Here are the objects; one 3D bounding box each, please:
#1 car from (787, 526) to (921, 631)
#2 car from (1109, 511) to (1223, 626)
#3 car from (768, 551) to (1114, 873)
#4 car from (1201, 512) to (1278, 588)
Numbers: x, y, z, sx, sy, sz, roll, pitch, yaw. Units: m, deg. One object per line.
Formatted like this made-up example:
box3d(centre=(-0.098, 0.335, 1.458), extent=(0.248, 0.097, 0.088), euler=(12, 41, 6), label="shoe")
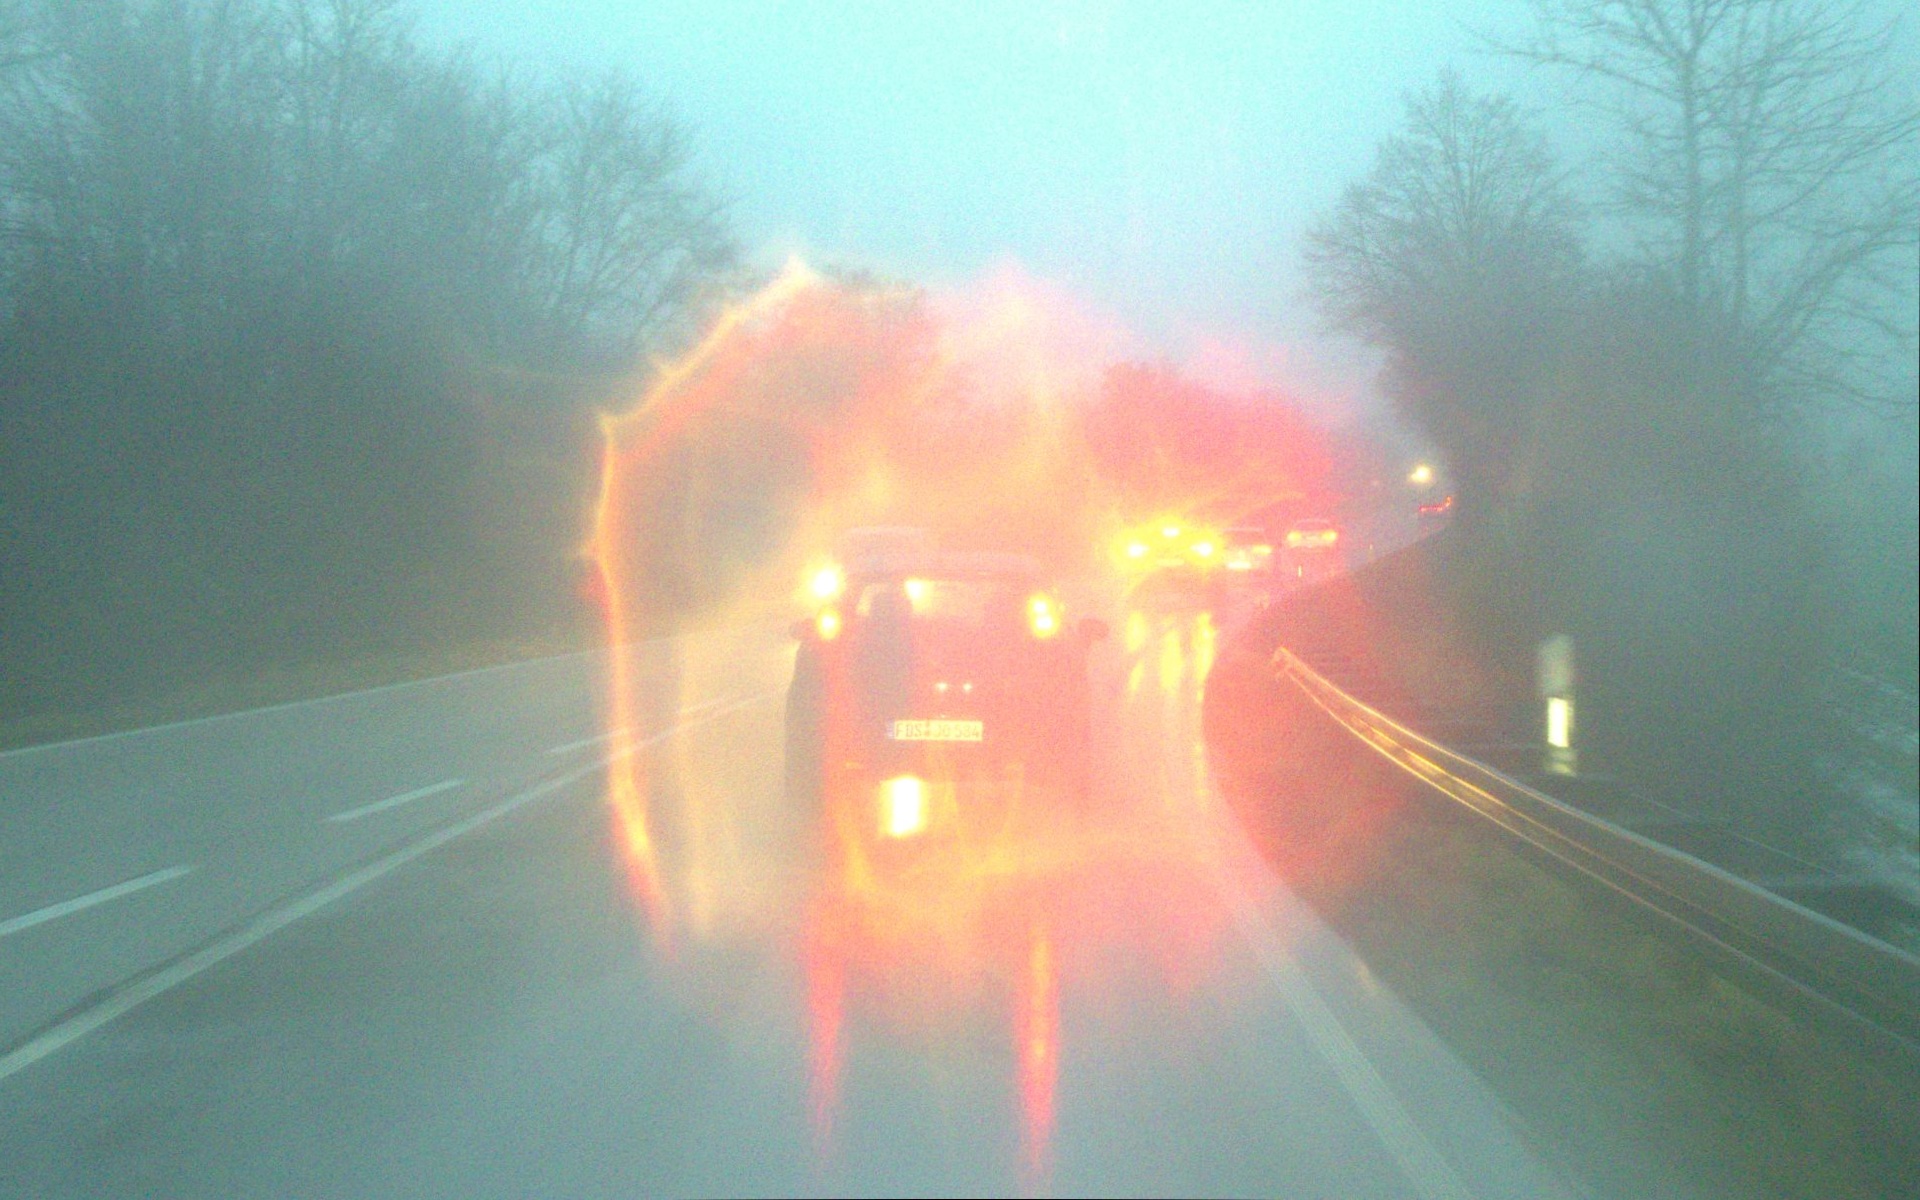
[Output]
box3d(centre=(-1.620, -0.362, 53.676), extent=(1.700, 1.570, 4.000), euler=(-1, 1, 4), label="car")
box3d(centre=(4.046, -0.655, 68.031), extent=(1.946, 2.006, 4.000), euler=(-6, 1, 2), label="car")
box3d(centre=(-0.194, 0.561, 20.153), extent=(1.730, 1.527, 4.043), euler=(-4, 2, -3), label="car")
box3d(centre=(7.278, -1.328, 89.930), extent=(1.946, 1.738, 4.001), euler=(0, 5, 4), label="car")
